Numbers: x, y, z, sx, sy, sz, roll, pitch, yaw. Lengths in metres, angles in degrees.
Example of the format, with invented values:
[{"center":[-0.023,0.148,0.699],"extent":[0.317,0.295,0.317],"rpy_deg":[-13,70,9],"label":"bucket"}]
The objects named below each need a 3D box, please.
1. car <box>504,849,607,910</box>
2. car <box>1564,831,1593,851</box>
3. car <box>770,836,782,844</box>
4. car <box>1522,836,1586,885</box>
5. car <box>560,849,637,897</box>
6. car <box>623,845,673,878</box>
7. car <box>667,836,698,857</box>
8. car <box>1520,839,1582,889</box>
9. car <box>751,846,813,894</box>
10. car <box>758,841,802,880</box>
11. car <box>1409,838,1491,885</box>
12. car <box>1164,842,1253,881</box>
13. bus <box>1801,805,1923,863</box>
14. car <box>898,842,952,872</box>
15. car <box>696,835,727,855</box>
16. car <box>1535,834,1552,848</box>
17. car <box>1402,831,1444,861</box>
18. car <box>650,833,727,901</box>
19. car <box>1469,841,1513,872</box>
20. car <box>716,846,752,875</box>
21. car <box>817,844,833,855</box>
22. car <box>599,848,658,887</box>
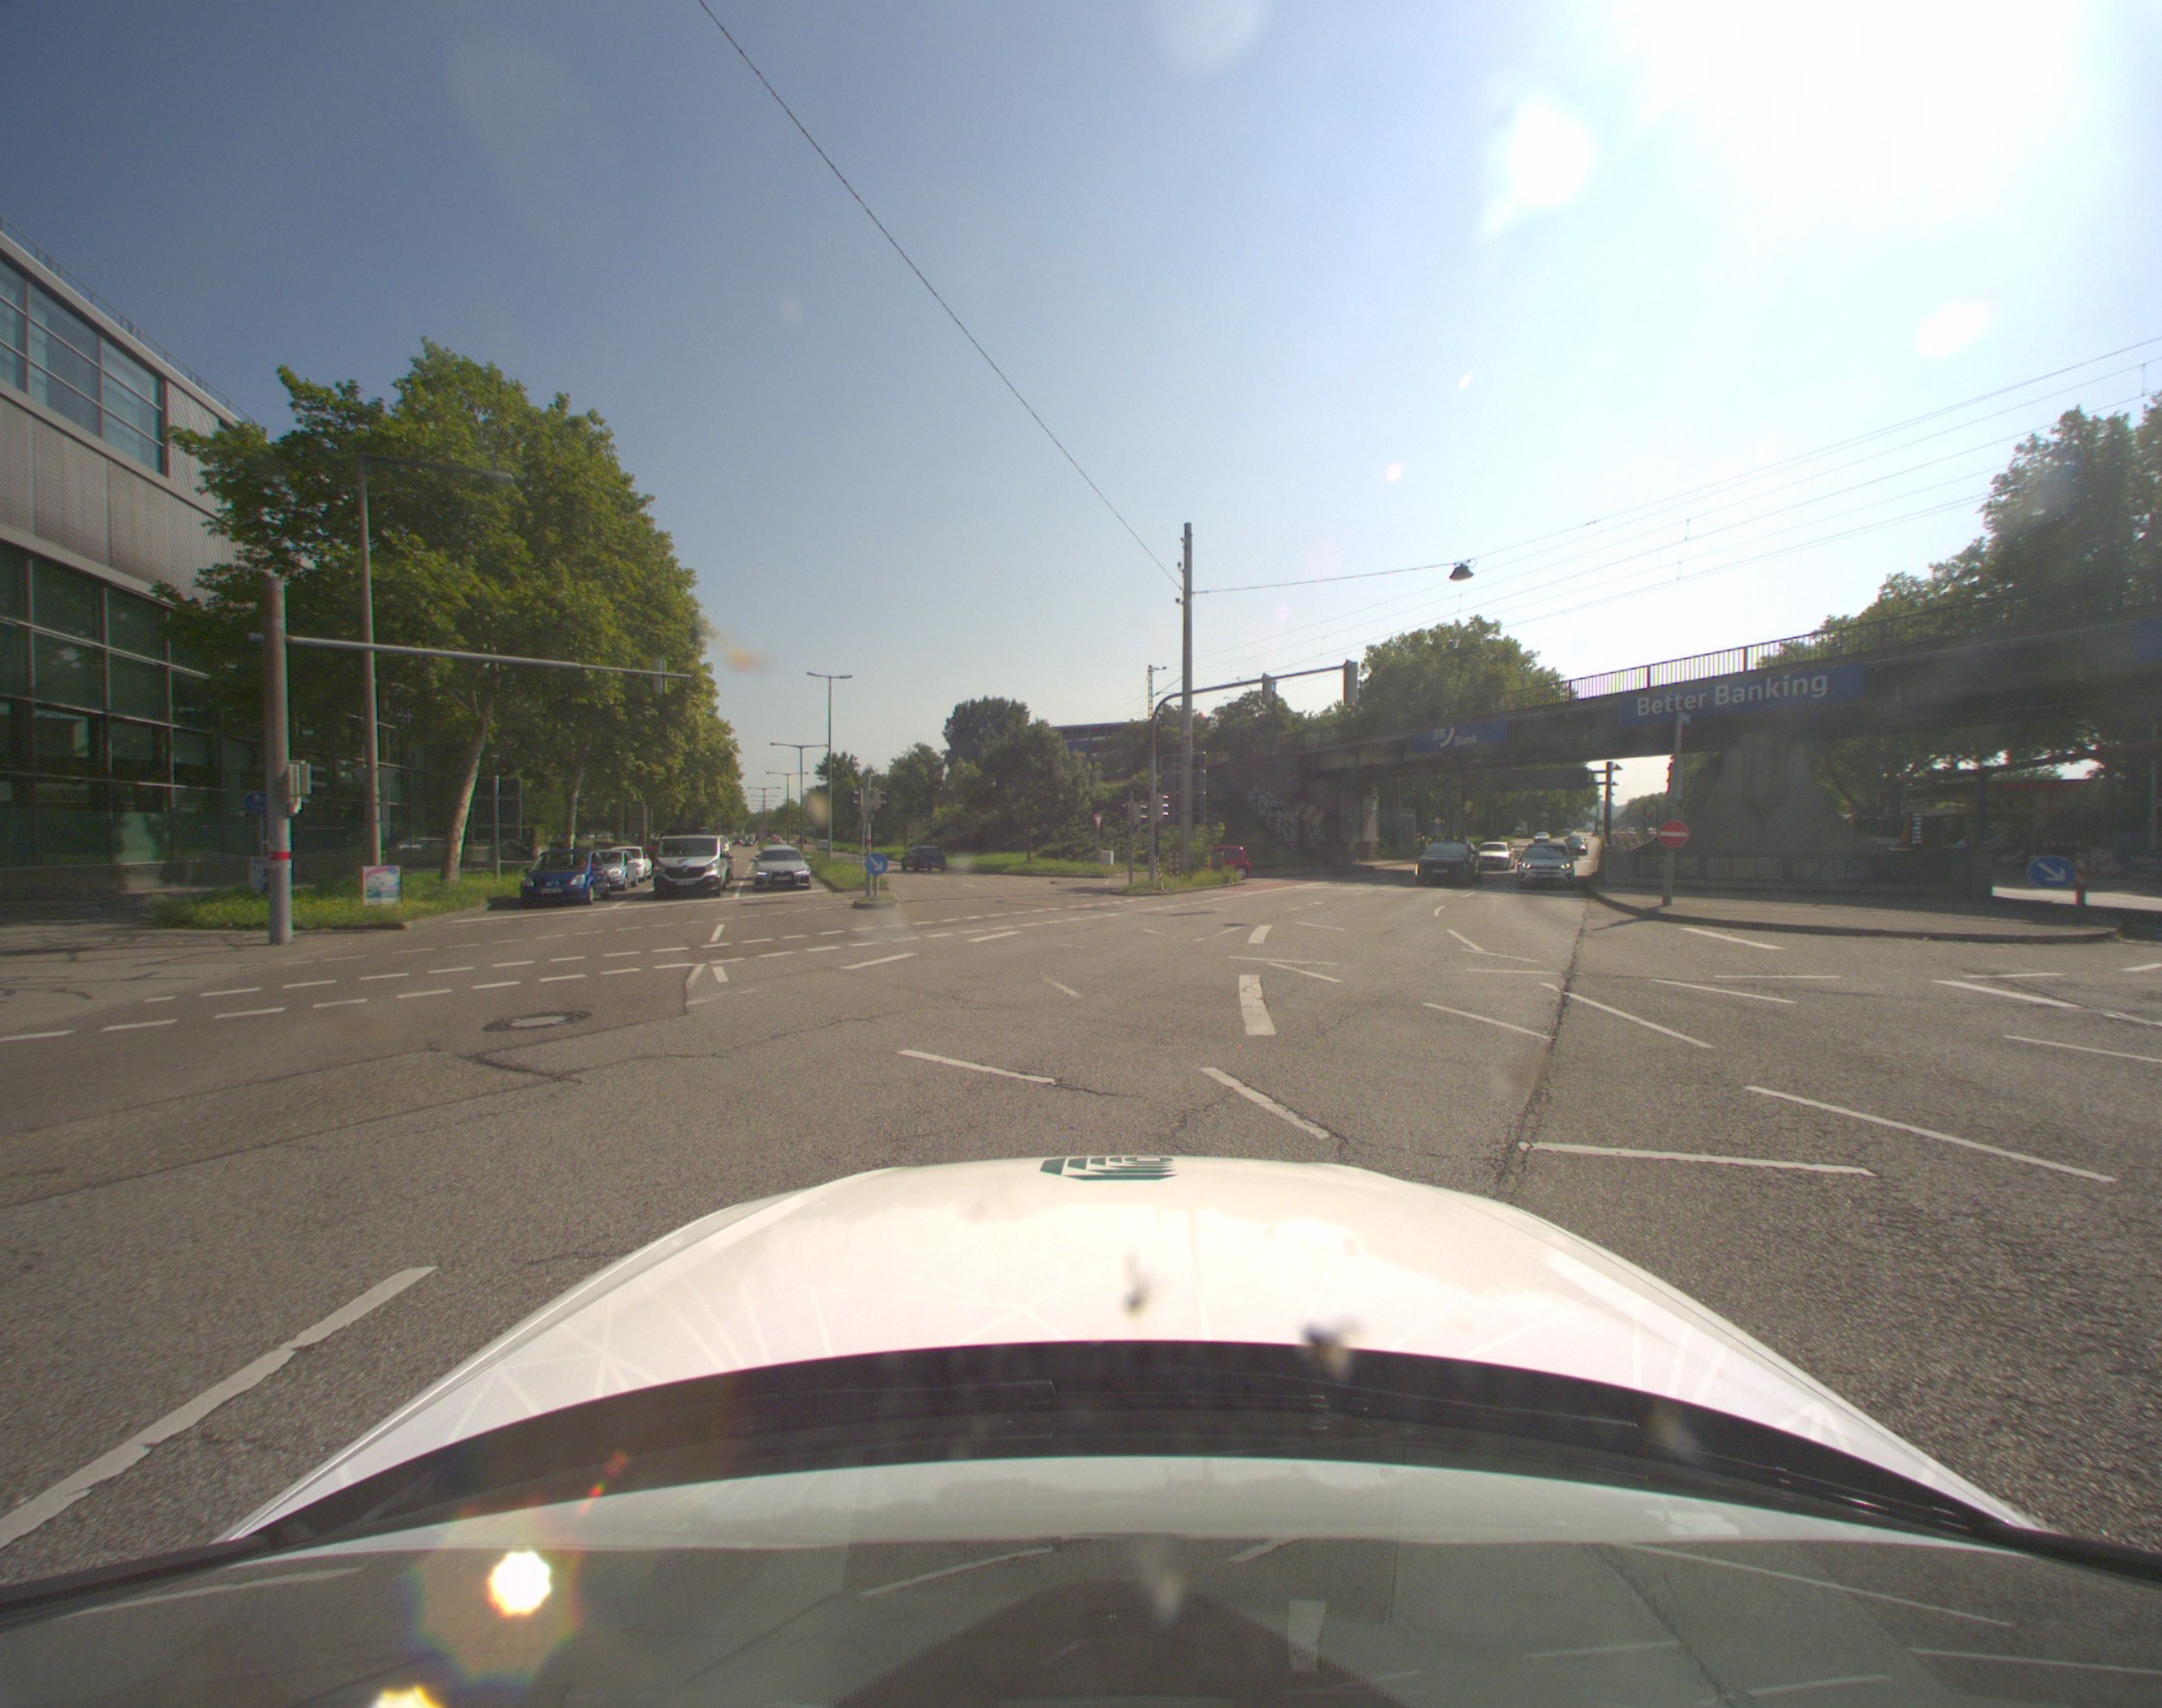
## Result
[{"center":[-15.006,0.661,23.452],"extent":[1.674,1.535,3.705],"rpy_deg":[-3,1,-20],"label":"car"},{"center":[40.078,-1.039,65.707],"extent":[1.834,1.483,4.213],"rpy_deg":[1,3,30],"label":"car"},{"center":[-65.566,-2.956,175.207],"extent":[1.998,1.701,3.979],"rpy_deg":[-1,1,-16],"label":"car"},{"center":[18.221,0.173,31.458],"extent":[1.975,1.572,4.376],"rpy_deg":[1,4,30],"label":"car"},{"center":[-17.222,0.626,29.259],"extent":[1.674,1.535,3.705],"rpy_deg":[-3,1,-20],"label":"car"},{"center":[-21.909,0.357,41.308],"extent":[1.674,1.535,3.705],"rpy_deg":[-3,1,-20],"label":"car"},{"center":[-30.251,-0.563,61.867],"extent":[1.674,1.535,3.705],"rpy_deg":[-3,1,-20],"label":"car"},{"center":[15.794,0.284,27.416],"extent":[1.705,1.538,3.719],"rpy_deg":[0,1,30],"label":"car"},{"center":[-10.637,0.493,28.800],"extent":[1.843,1.443,4.572],"rpy_deg":[-3,2,-22],"label":"car"},{"center":[-13.108,0.224,35.382],"extent":[1.620,1.535,4.072],"rpy_deg":[-3,2,-21],"label":"car"},{"center":[13.621,0.225,29.907],"extent":[1.883,1.617,4.503],"rpy_deg":[-1,0,35],"label":"car"},{"center":[5.555,0.302,35.719],"extent":[3.535,1.467,1.642],"rpy_deg":[3,2,-4],"label":"car"},{"center":[48.836,-1.291,51.405],"extent":[3.105,3.112,12.369],"rpy_deg":[5,4,33],"label":"bus"},{"center":[-8.894,0.153,46.210],"extent":[1.792,1.427,3.962],"rpy_deg":[1,3,-31],"label":"car"},{"center":[-38.926,-0.968,85.722],"extent":[1.942,1.960,5.134],"rpy_deg":[-3,3,-35],"label":"car"},{"center":[67.921,-1.918,119.656],"extent":[1.975,2.013,4.025],"rpy_deg":[4,3,31],"label":"car"},{"center":[23.072,-0.553,54.934],"extent":[1.975,1.848,4.025],"rpy_deg":[4,3,31],"label":"car"},{"center":[-12.581,0.307,26.391],"extent":[1.935,1.957,5.174],"rpy_deg":[-1,2,-23],"label":"car"},{"center":[20.958,0.094,41.564],"extent":[1.674,1.360,4.025],"rpy_deg":[4,3,31],"label":"car"},{"center":[-20.271,0.339,47.707],"extent":[1.674,1.535,3.705],"rpy_deg":[-3,1,-20],"label":"car"},{"center":[-38.871,-0.661,123.524],"extent":[2.002,1.654,3.971],"rpy_deg":[-1,1,-22],"label":"car"},{"center":[-19.749,0.544,35.673],"extent":[1.674,1.535,3.705],"rpy_deg":[-3,1,-20],"label":"car"}]
